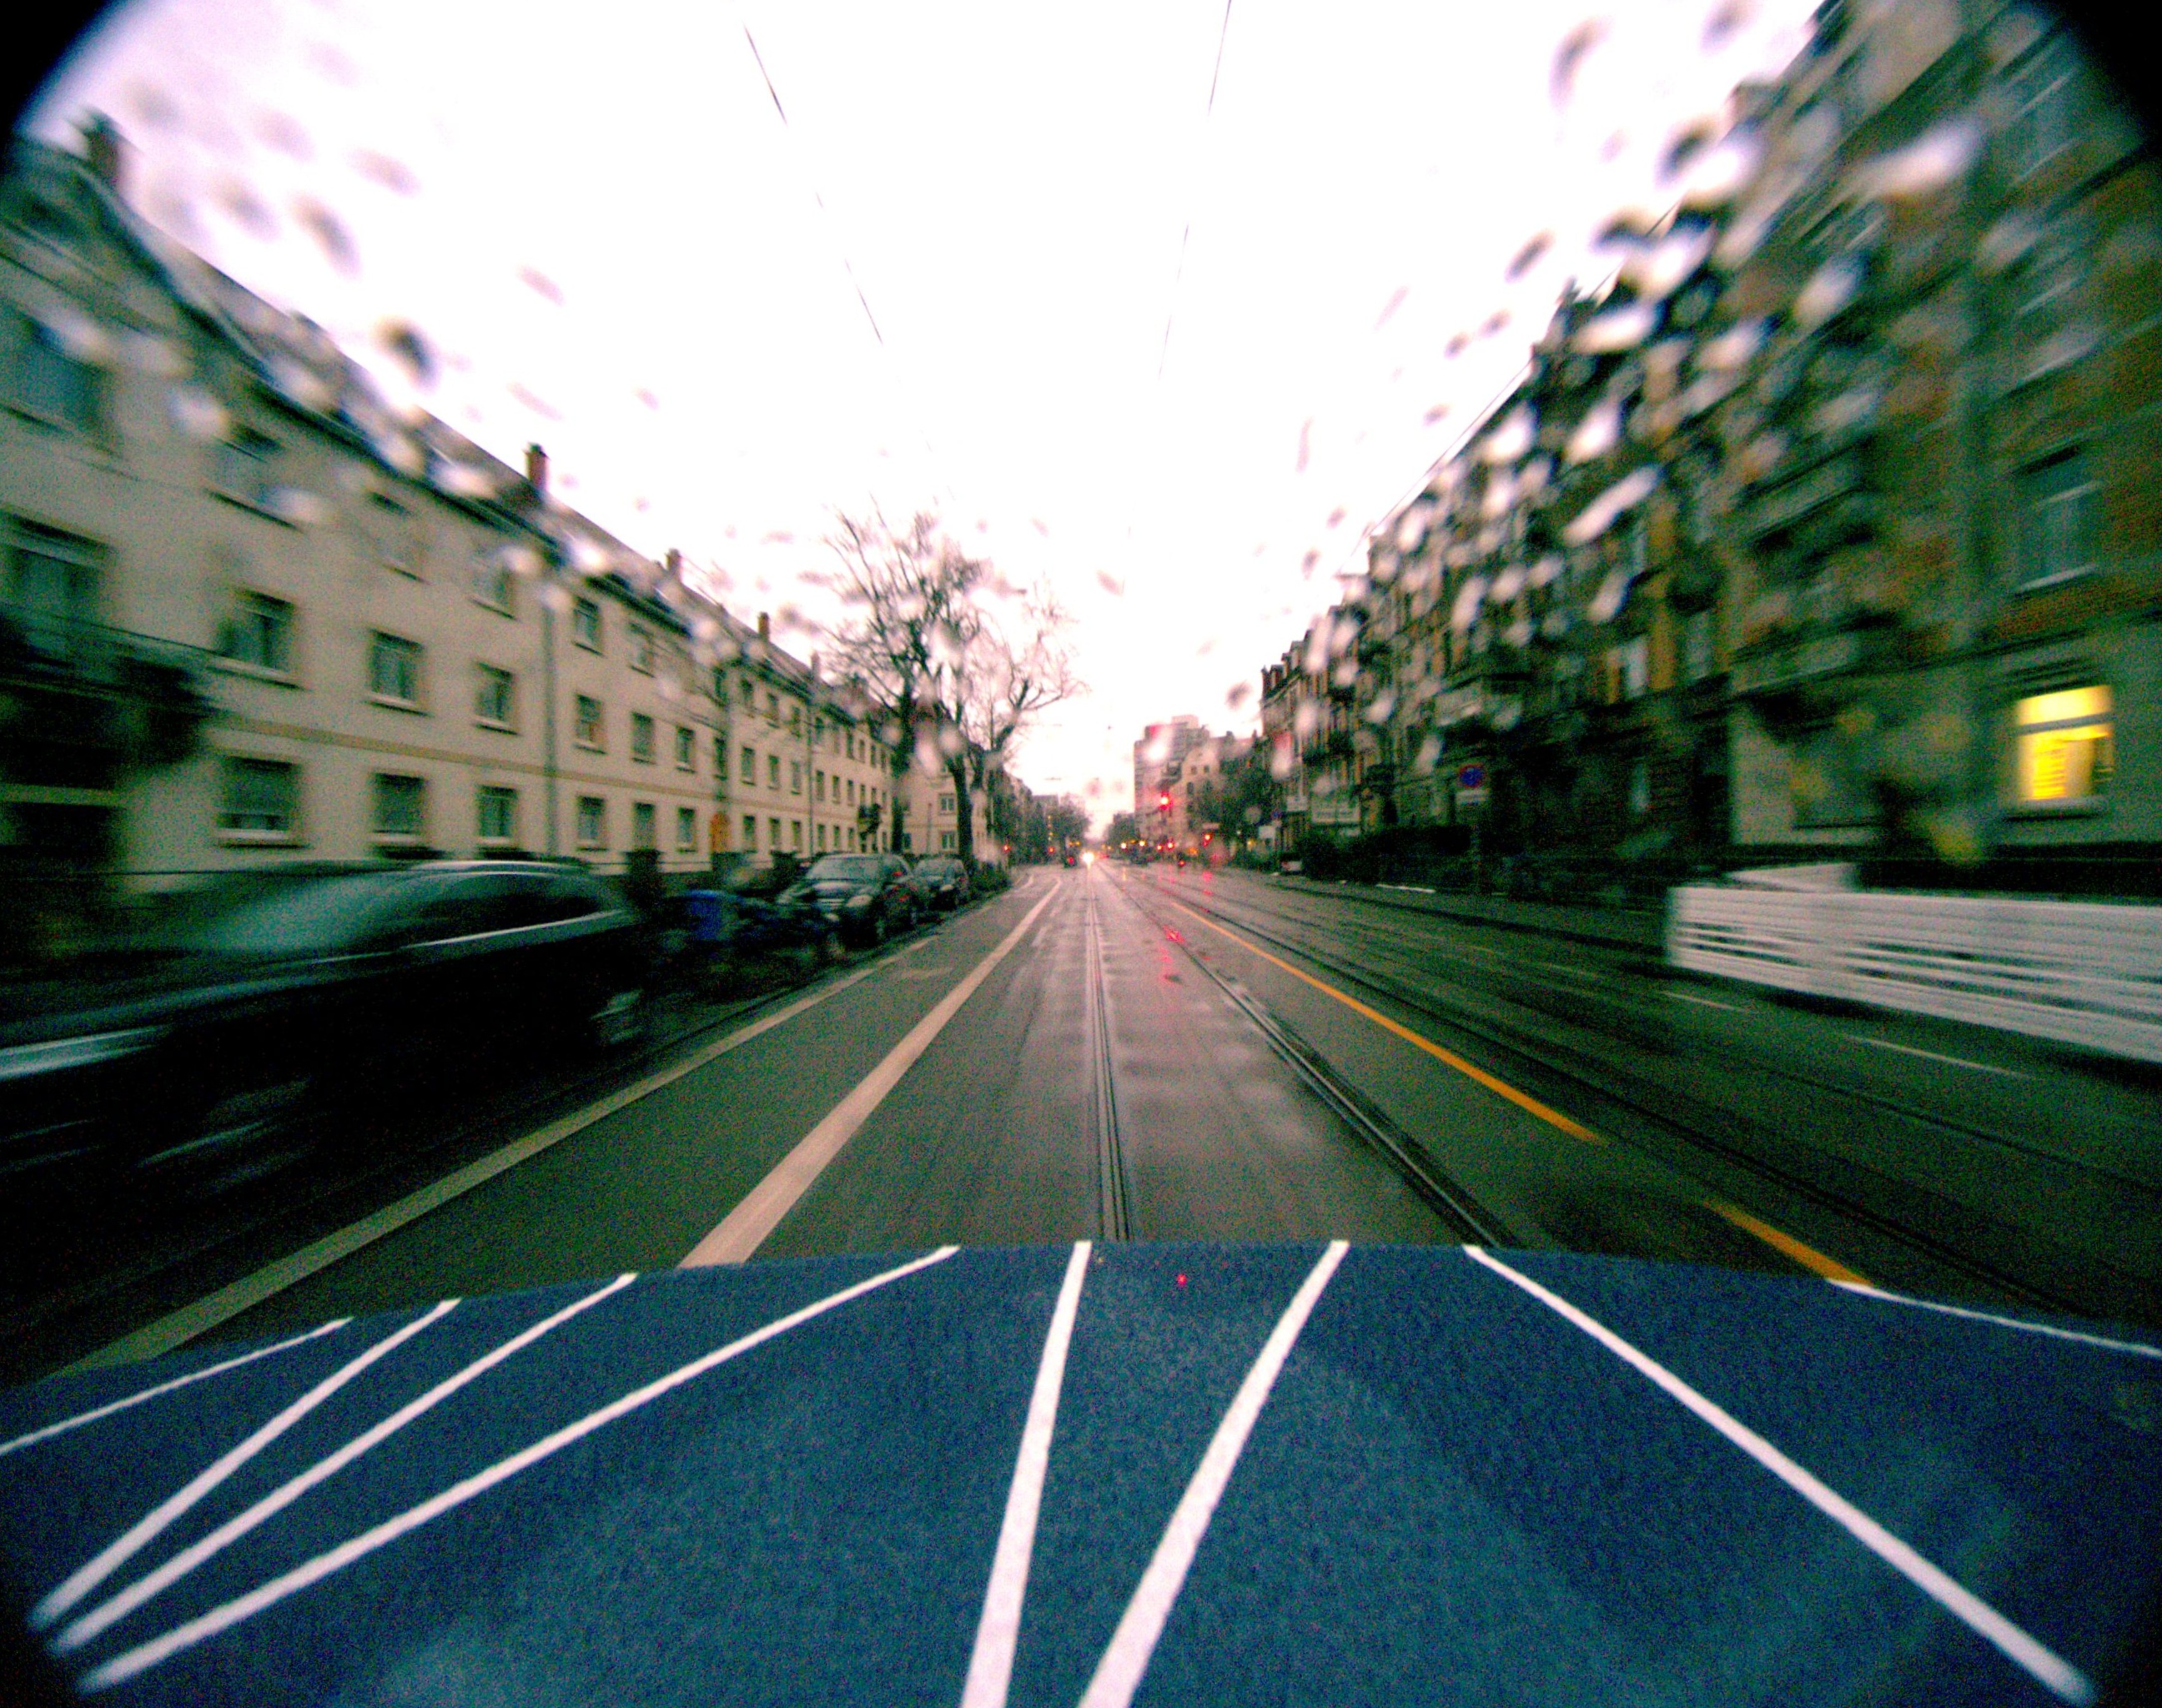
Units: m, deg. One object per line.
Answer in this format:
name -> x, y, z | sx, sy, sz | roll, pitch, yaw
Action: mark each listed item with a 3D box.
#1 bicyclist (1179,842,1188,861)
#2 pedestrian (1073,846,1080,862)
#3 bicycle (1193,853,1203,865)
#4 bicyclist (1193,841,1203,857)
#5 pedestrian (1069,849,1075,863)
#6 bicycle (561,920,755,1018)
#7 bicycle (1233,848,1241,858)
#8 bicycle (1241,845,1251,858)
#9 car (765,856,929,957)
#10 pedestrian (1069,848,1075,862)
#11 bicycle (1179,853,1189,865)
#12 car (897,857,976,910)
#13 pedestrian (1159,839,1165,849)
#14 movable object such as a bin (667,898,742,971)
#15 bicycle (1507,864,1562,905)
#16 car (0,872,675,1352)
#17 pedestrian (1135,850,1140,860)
bicyclist -> 8.888, -0.210, 65.799 | 0.685, 1.607, 0.765 | -1, 1, 2
pedestrian -> -0.589, -0.043, 92.669 | 0.689, 1.906, 0.717 | -1, 1, -15
bicycle -> 10.219, 0.444, 66.502 | 0.683, 1.001, 1.803 | -1, 1, 2
bicyclist -> 10.201, -0.445, 66.501 | 0.706, 1.356, 0.944 | -3, 1, 2
pedestrian -> -1.151, 0.221, 97.760 | 0.558, 1.797, 0.571 | -3, 1, 1
bicycle -> -4.859, 1.299, 8.749 | 2.017, 0.911, 0.465 | 3, 1, 6
bicycle -> 13.478, -0.075, 65.566 | 0.400, 0.857, 1.849 | -1, 1, 2
bicycle -> 13.159, -0.193, 60.737 | 0.417, 1.001, 1.849 | -1, 1, 2
car -> -4.679, 0.948, 16.070 | 1.910, 1.717, 4.901 | -1, 1, 0
pedestrian -> -1.097, 0.107, 94.891 | 0.659, 1.698, 0.571 | -3, 1, 1
bicycle -> 8.912, 0.405, 65.749 | 0.680, 0.966, 1.933 | -1, 1, 2
car -> -4.602, 0.905, 24.763 | 1.790, 1.501, 3.987 | -1, 1, 0
pedestrian -> 14.840, -1.822, 139.277 | 0.796, 1.867, 0.896 | -3, 1, 37
movable object such as a bin -> -5.474, 1.166, 11.078 | 0.753, 0.948, 0.568 | 4, 0, -5
bicycle -> 11.141, 0.726, 18.718 | 0.264, 0.910, 1.685 | -6, 0, 1
car -> -4.818, 0.999, 4.780 | 1.910, 1.601, 4.561 | -1, 1, 2
pedestrian -> 7.830, 0.136, 104.951 | 0.654, 1.211, 0.517 | -3, 1, 0
